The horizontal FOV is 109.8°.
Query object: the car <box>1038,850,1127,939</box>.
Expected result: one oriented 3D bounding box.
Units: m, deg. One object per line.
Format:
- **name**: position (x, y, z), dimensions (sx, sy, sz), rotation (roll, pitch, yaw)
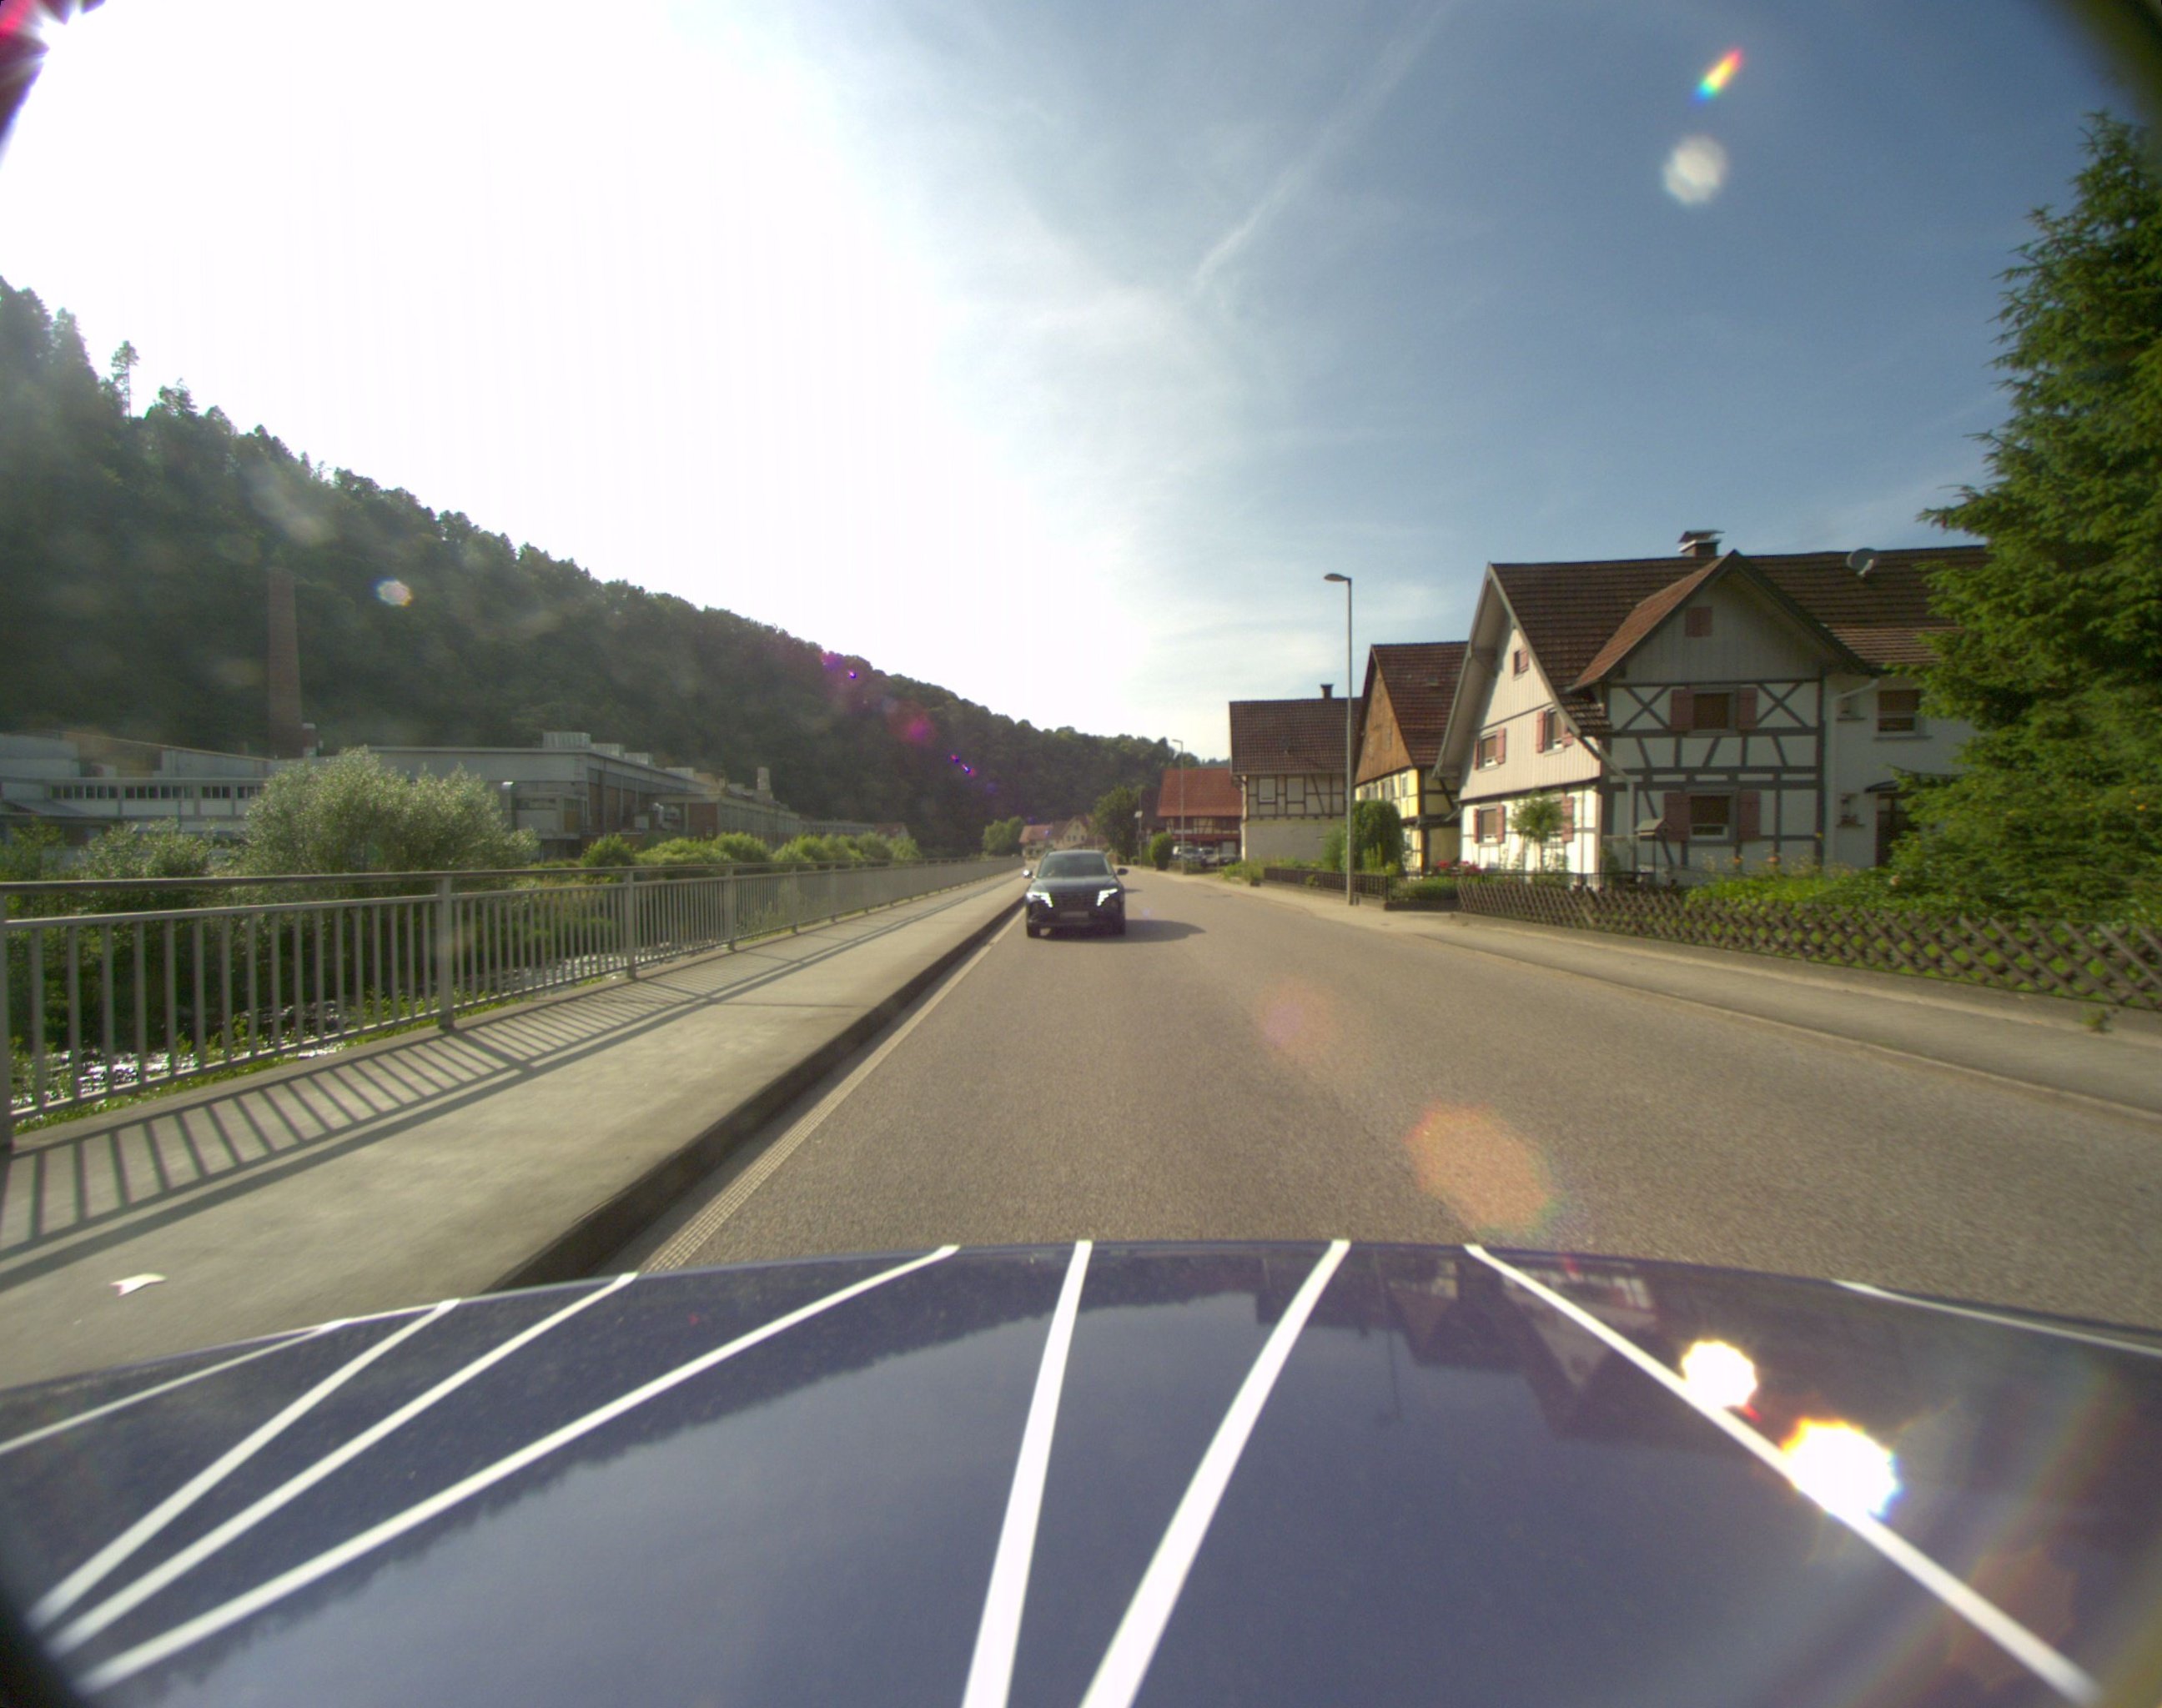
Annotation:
- **car**: position (-0.050, 0.775, 16.752), dimensions (1.649, 1.639, 3.999), rotation (-3, 0, -2)
